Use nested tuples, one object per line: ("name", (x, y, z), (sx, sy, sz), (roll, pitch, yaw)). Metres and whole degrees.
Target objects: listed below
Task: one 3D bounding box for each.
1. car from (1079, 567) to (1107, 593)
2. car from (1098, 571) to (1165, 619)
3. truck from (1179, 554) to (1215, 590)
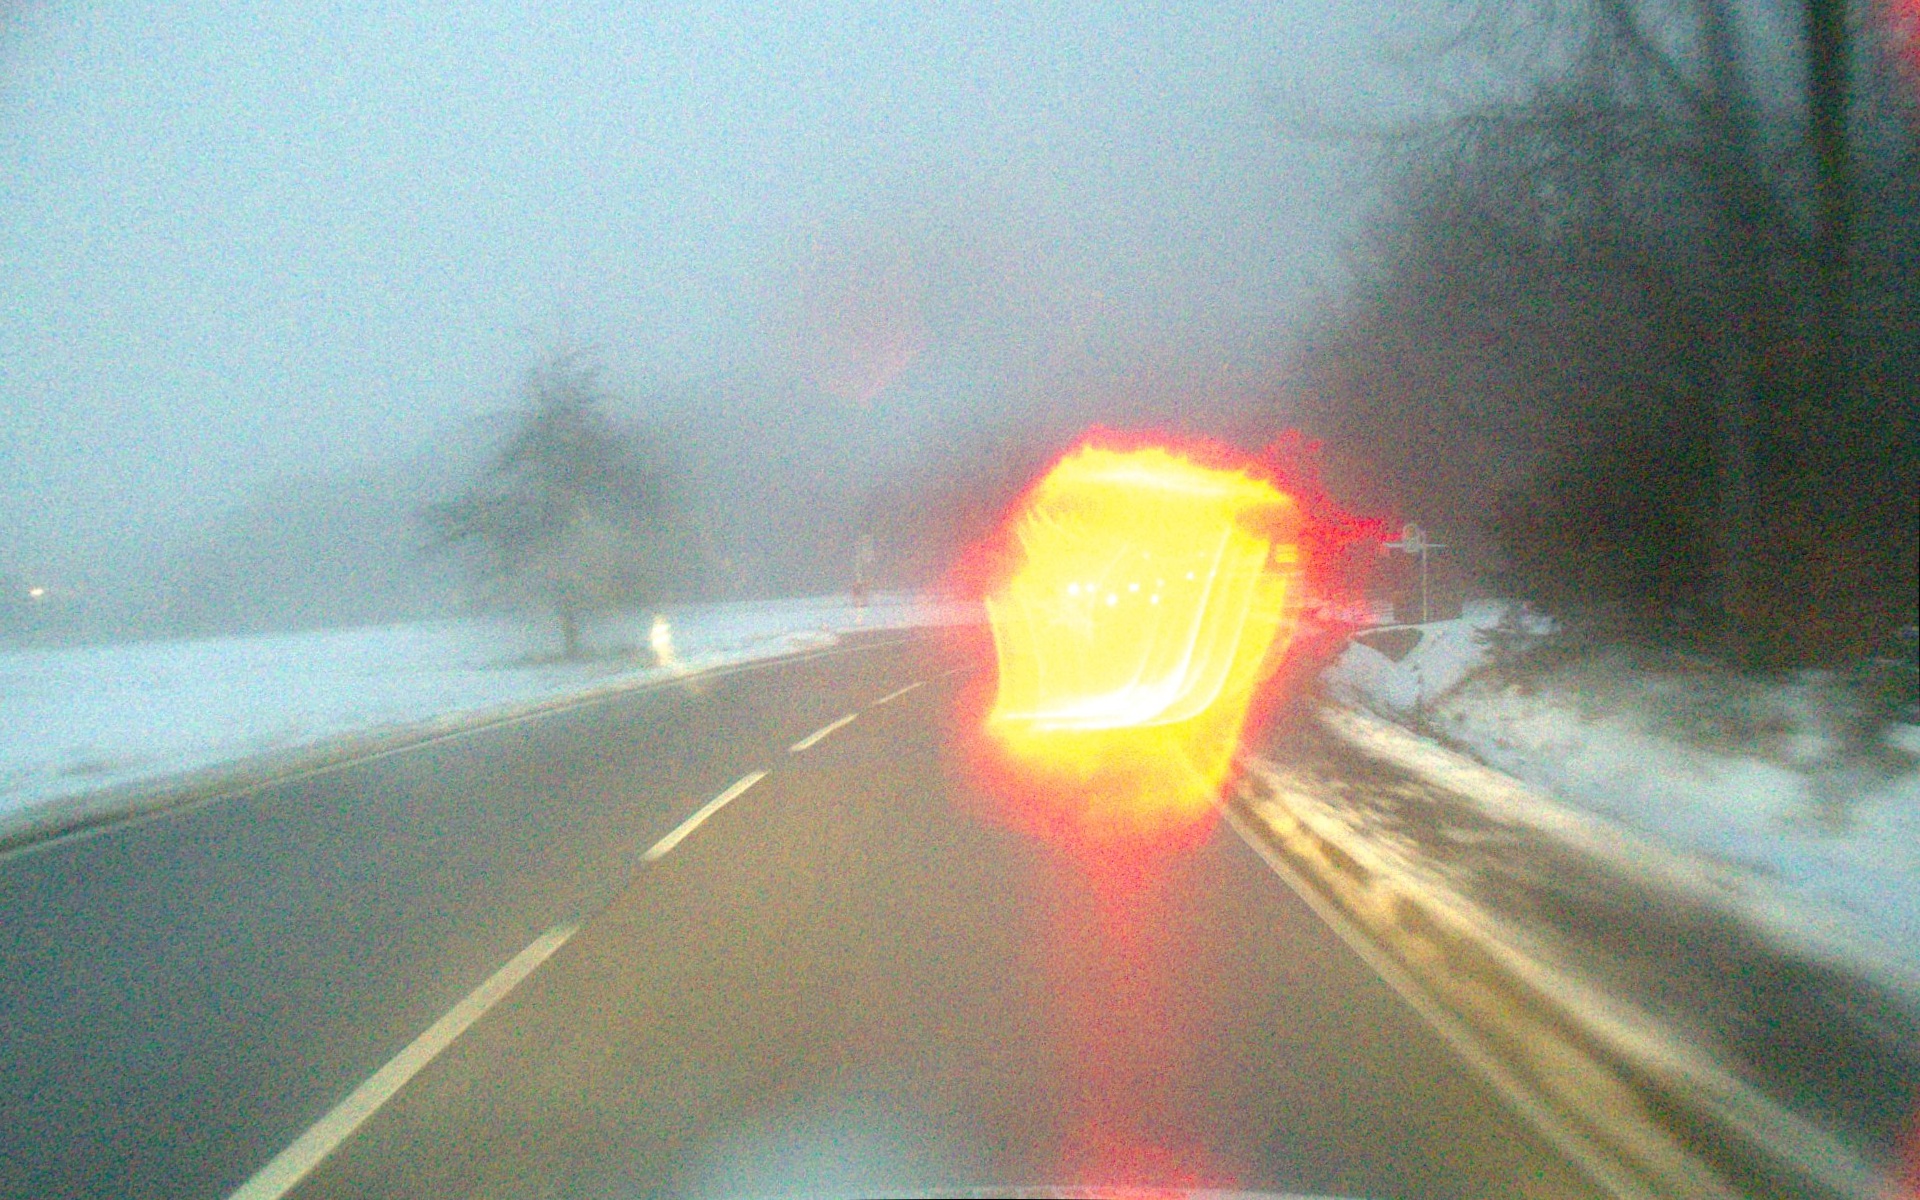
("car", (9.325, -1.425, 116.314), (1.715, 1.722, 4.428), (-2, 1, 2))
("car", (5.342, -0.188, 51.270), (1.881, 1.299, 4.004), (-1, 2, 8))
("truck", (18.662, -2.221, 130.379), (2.033, 2.793, 5.319), (-1, 1, 0))
